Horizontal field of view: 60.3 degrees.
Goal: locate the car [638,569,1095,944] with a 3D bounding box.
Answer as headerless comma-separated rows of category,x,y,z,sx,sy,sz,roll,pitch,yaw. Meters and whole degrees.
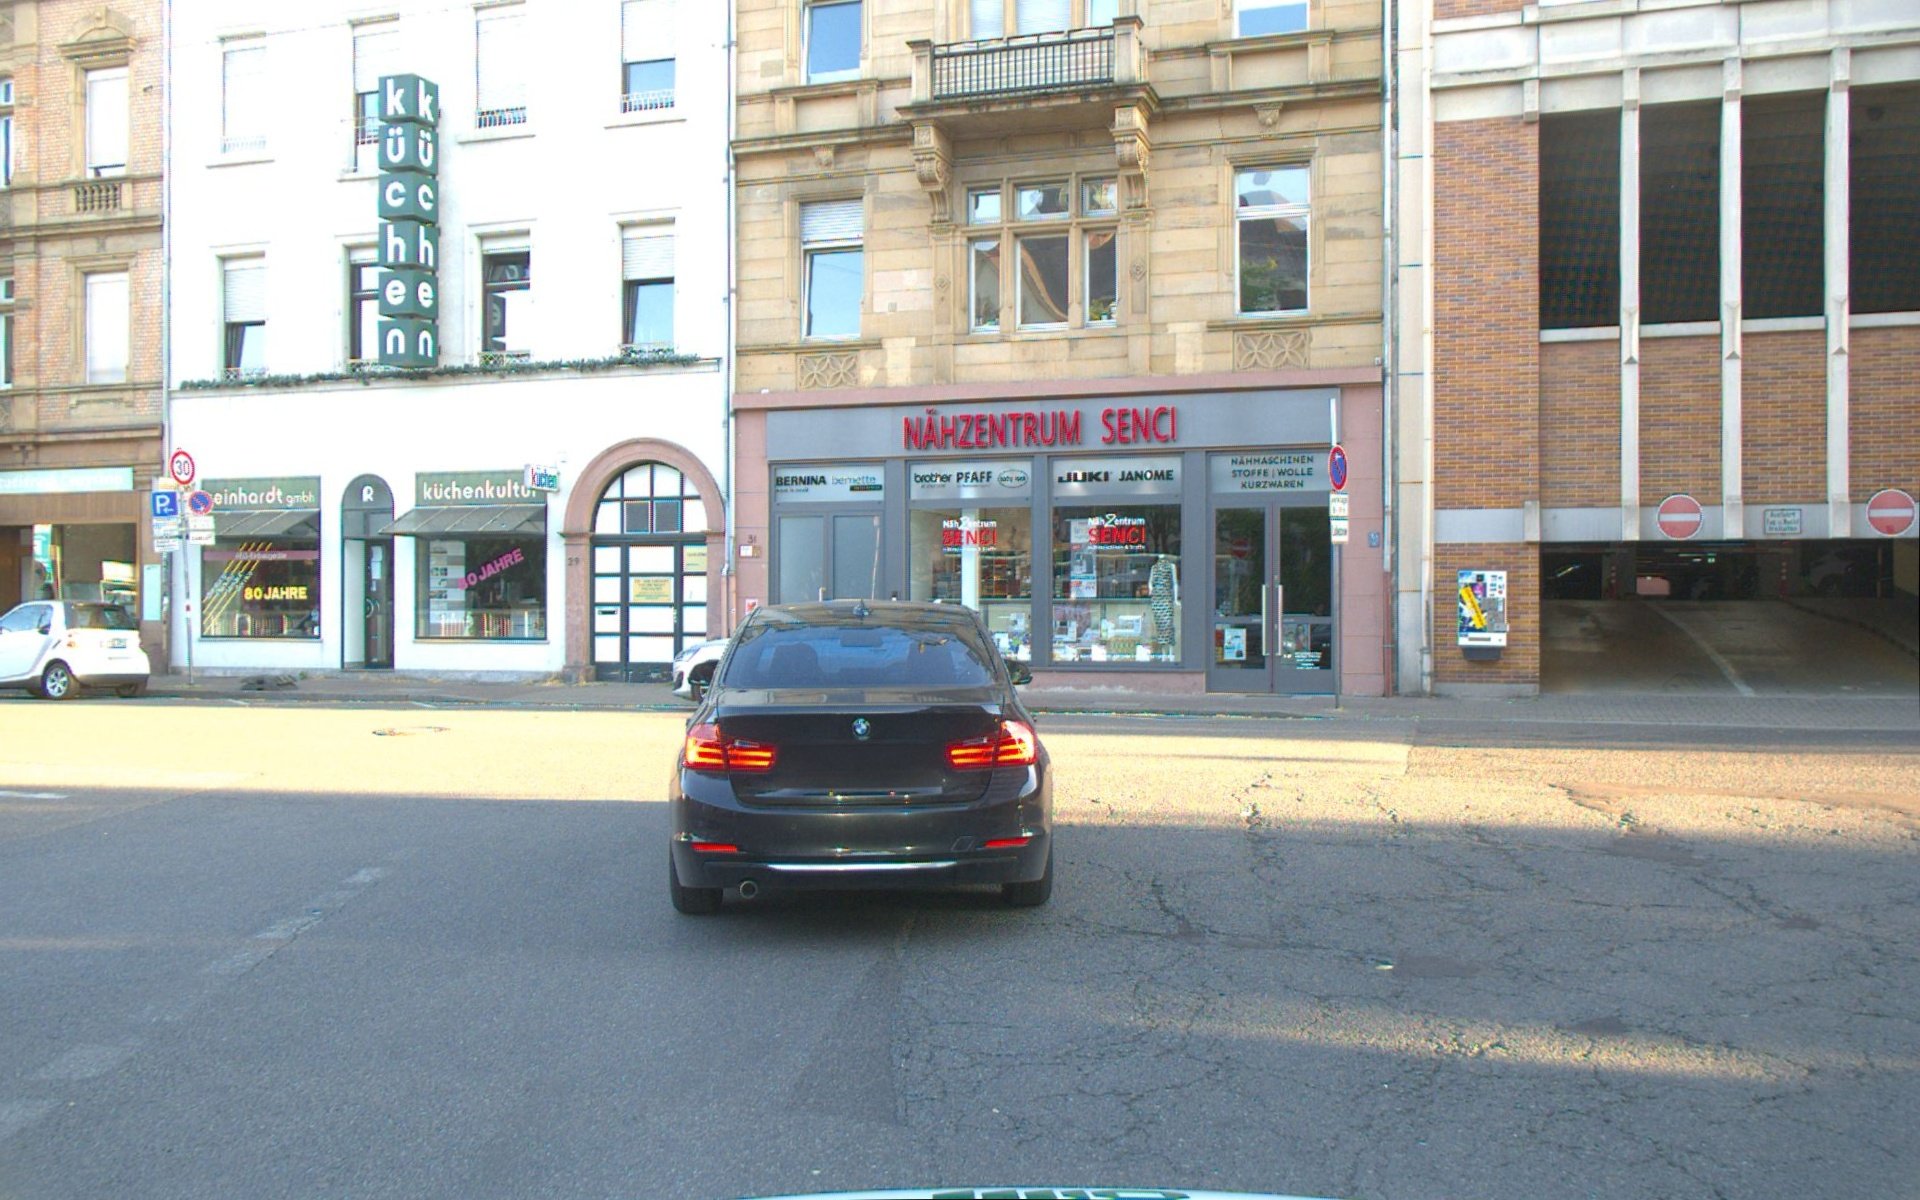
car,-0.325,0.666,8.809,1.849,1.518,4.205,0,-1,1

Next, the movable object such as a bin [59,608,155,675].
movable object such as a bin,-15.763,0.763,30.575,1.364,1.207,0.869,0,0,18

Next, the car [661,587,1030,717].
car,-1.522,0.654,22.482,4.568,1.562,2.001,1,0,17

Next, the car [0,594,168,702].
car,-15.164,0.738,27.052,3.903,1.612,1.706,1,0,19
